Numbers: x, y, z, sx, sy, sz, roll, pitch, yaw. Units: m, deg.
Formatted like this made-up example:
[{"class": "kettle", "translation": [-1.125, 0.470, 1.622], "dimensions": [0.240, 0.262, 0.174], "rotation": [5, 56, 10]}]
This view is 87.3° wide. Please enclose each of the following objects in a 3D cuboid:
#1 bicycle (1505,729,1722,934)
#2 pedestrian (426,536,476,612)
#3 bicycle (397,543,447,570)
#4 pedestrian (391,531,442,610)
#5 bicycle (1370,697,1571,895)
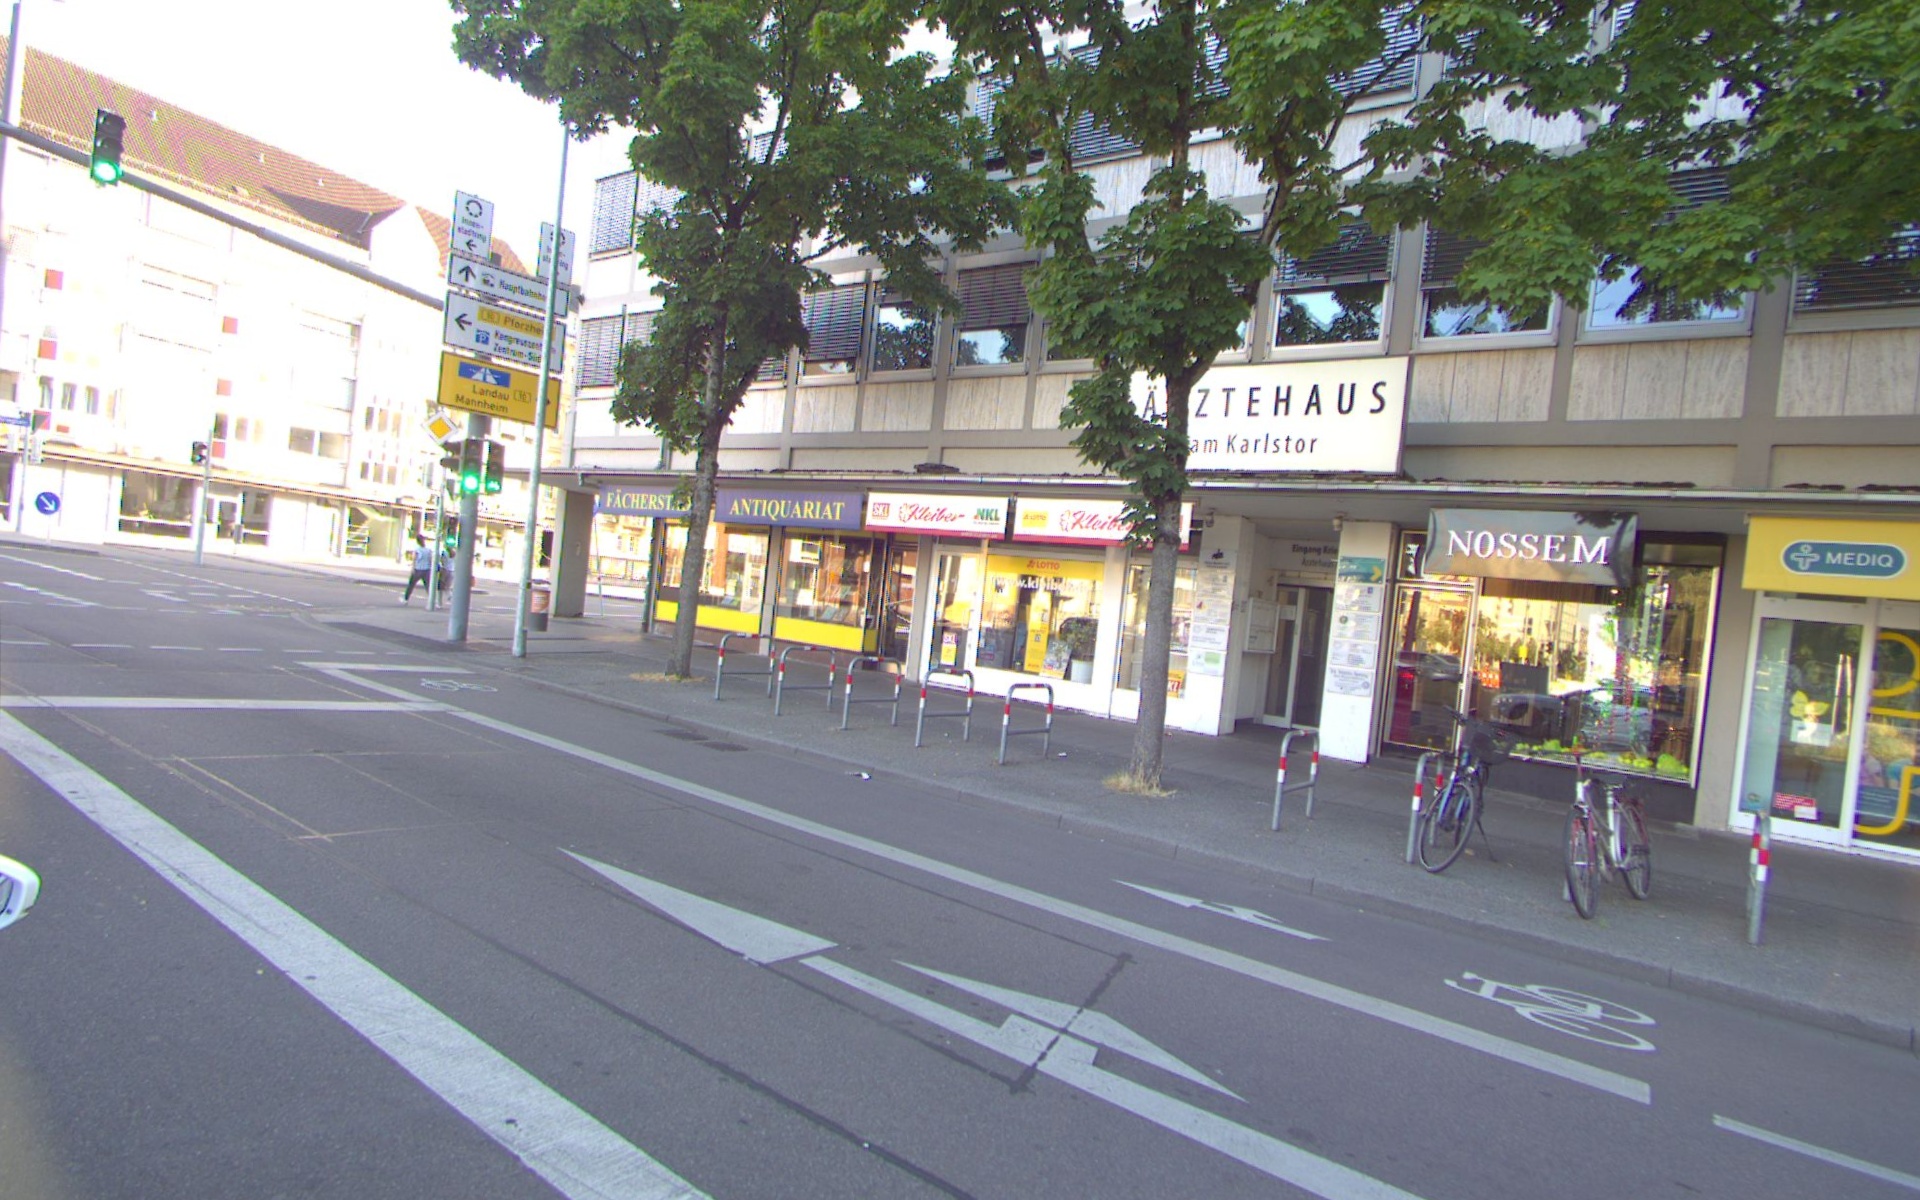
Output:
[{"class": "bicycle", "translation": [4.562, 1.512, 6.955], "dimensions": [1.989, 1.124, 0.660], "rotation": [6, 1, -42]}, {"class": "pedestrian", "translation": [-12.025, -0.620, 23.786], "dimensions": [0.661, 1.688, 0.722], "rotation": [7, 1, 39]}, {"class": "bicycle", "translation": [-30.796, -2.483, 57.618], "dimensions": [0.809, 1.281, 2.408], "rotation": [7, 0, 30]}, {"class": "pedestrian", "translation": [-12.378, -0.667, 22.921], "dimensions": [0.661, 1.688, 0.683], "rotation": [7, 1, 39]}, {"class": "bicycle", "translation": [3.948, 1.432, 7.701], "dimensions": [1.898, 1.251, 0.660], "rotation": [6, 1, -44]}]
